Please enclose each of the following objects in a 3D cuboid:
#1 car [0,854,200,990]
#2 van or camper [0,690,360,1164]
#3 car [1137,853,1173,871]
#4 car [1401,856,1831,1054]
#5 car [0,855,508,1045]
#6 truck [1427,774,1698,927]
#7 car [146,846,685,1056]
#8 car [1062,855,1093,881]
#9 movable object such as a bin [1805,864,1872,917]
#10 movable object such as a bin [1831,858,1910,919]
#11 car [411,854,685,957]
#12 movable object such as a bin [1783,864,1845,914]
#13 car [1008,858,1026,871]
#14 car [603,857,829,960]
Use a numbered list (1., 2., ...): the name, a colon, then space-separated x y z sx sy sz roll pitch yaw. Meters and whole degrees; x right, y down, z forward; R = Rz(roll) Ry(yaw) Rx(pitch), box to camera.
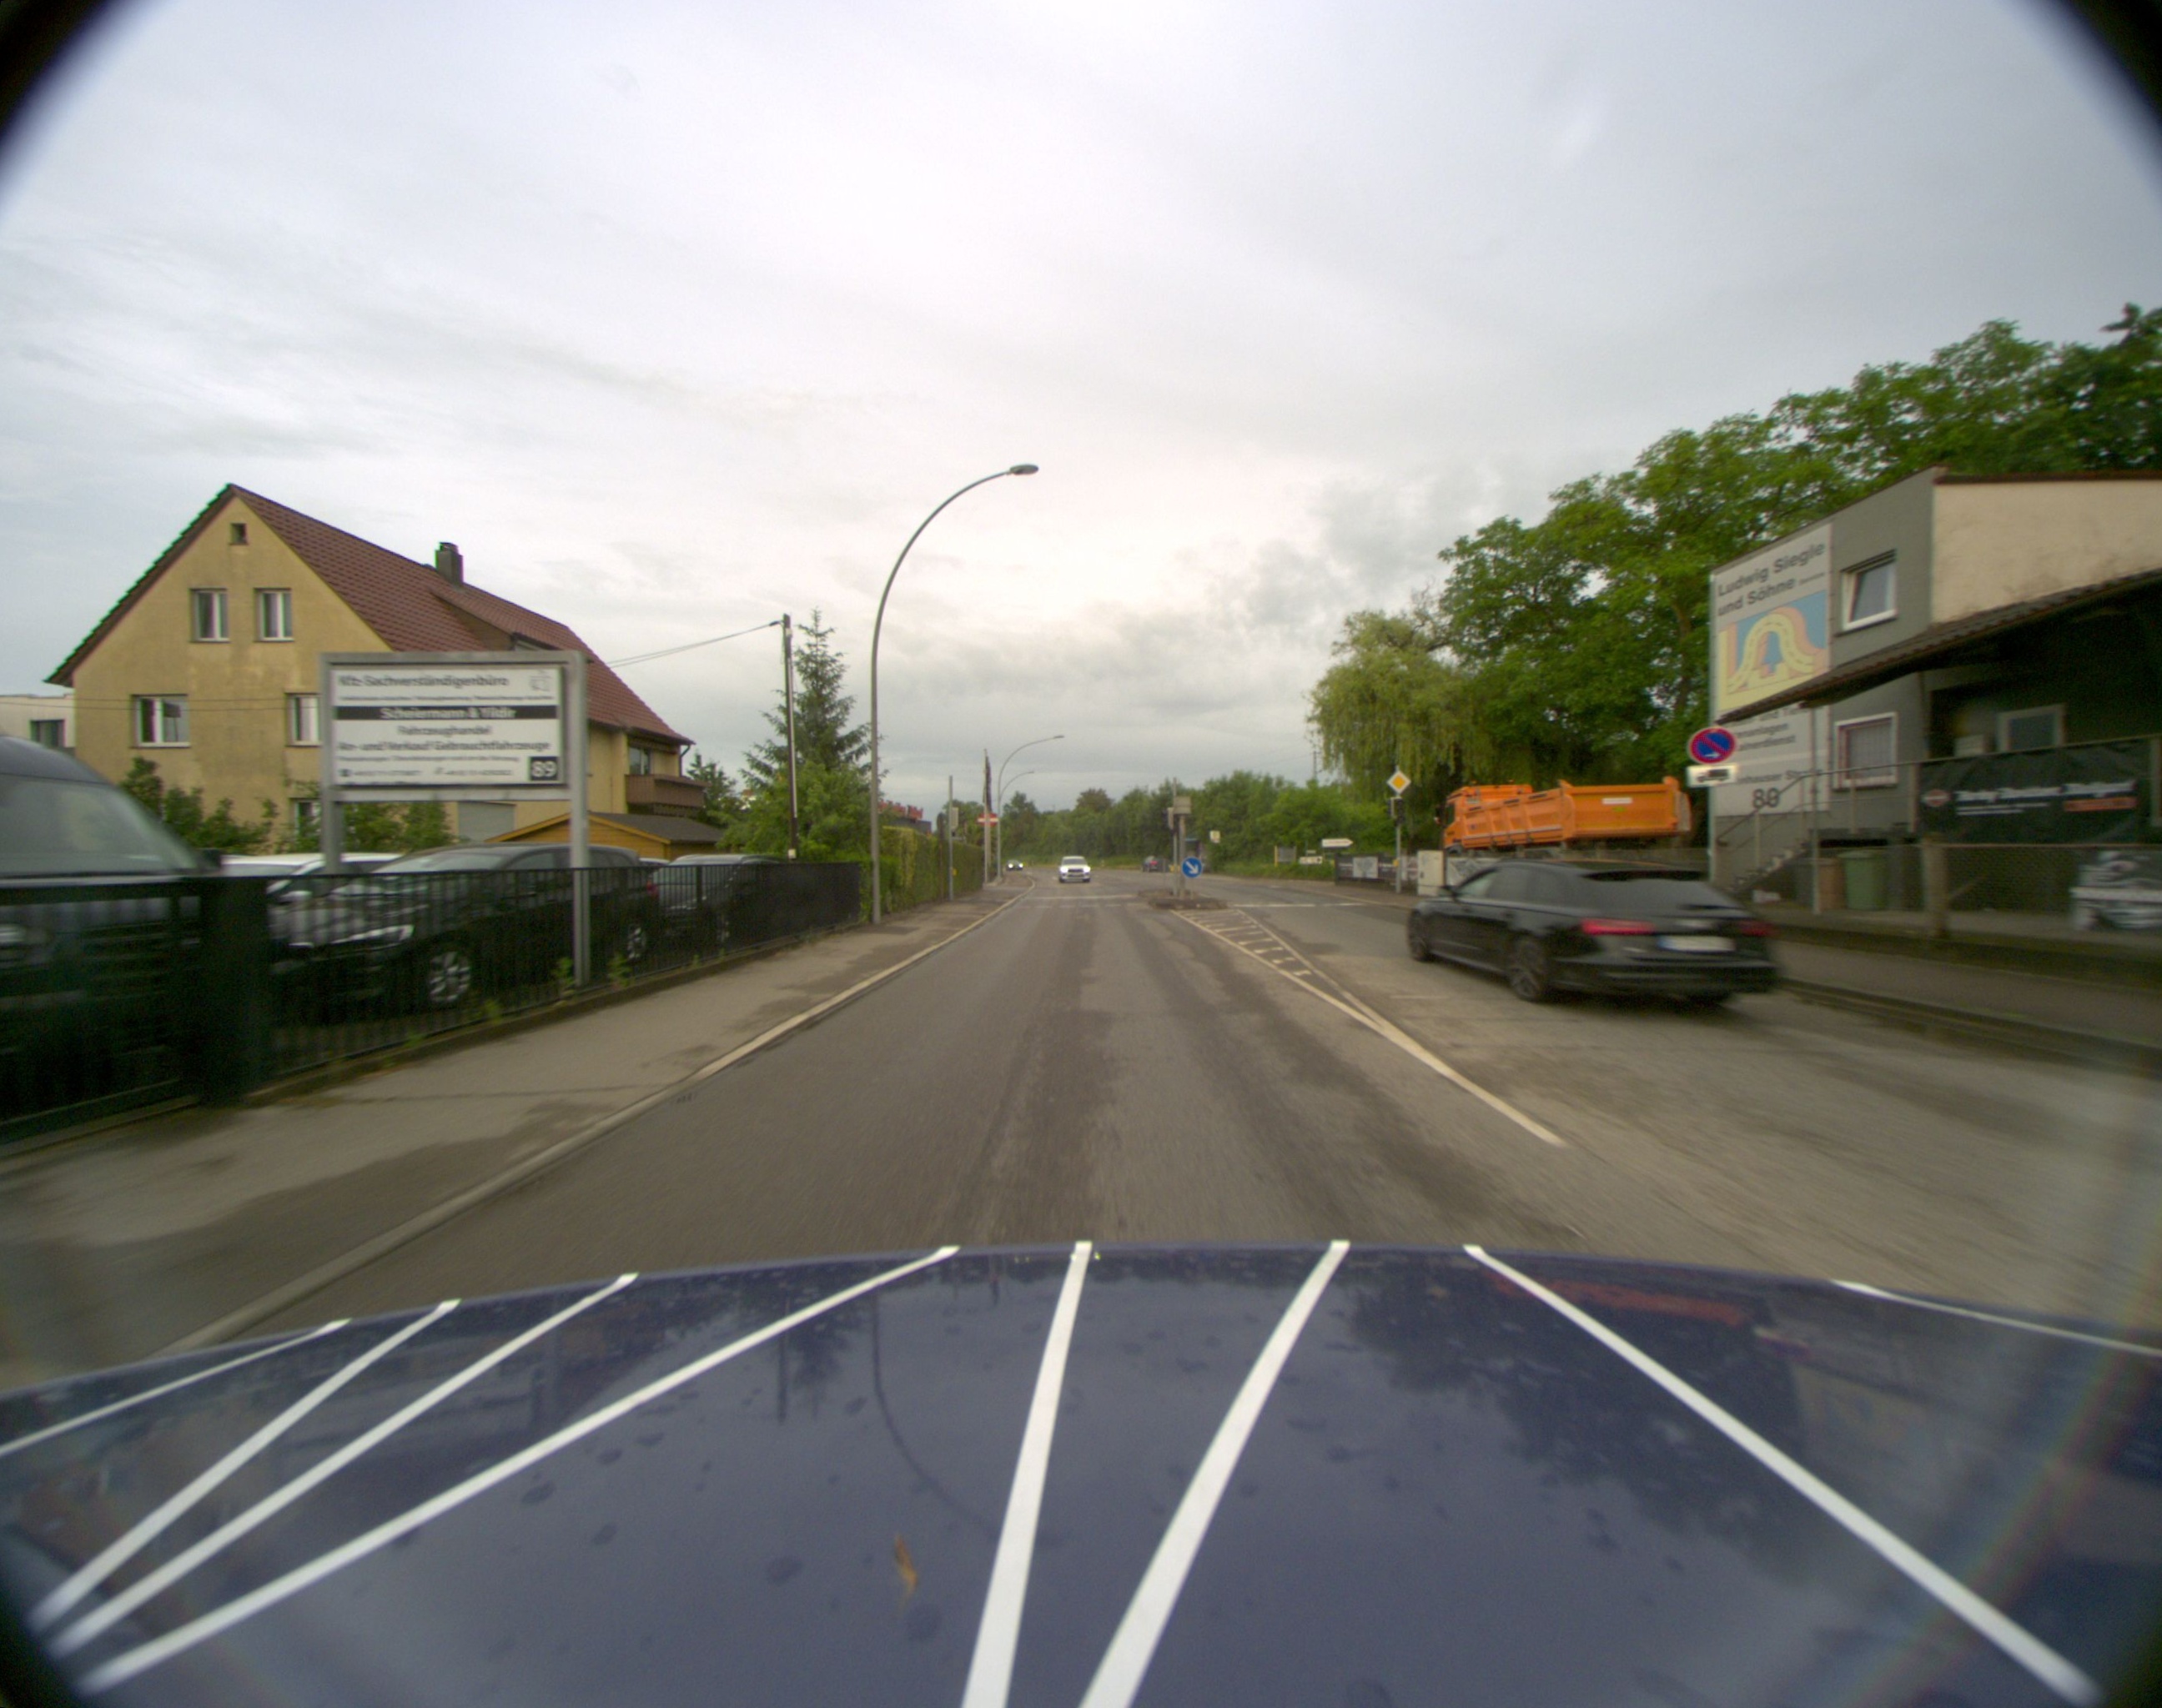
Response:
1. car: -14.035 0.907 9.278 1.633 1.590 3.966 -3 2 5
2. van or camper: -8.575 0.435 4.830 5.918 2.472 2.131 -2 2 2
3. car: 6.838 0.805 70.865 2.000 1.465 4.698 -3 -2 -10
4. car: 5.324 0.842 8.502 1.746 1.443 4.542 -1 2 3
5. car: -9.319 0.902 9.029 1.665 1.558 4.000 -3 2 5
6. truck: 13.068 -0.240 21.910 2.703 3.393 9.071 -3 2 5
7. car: -6.676 0.788 8.529 1.665 1.558 4.566 -3 2 5
8. car: -0.264 0.866 48.987 1.848 1.565 3.826 0 0 -2
9. movable object such as a bin: 14.115 0.681 14.165 0.765 0.950 0.478 -1 1 1
10. movable object such as a bin: 14.108 0.602 13.591 0.765 1.050 0.624 -1 1 1
11. car: -9.071 0.785 13.407 1.740 1.346 3.905 -3 2 6
12. movable object such as a bin: 14.147 0.669 14.668 0.750 0.950 0.460 -1 1 1
13. car: -8.588 1.380 101.902 1.839 1.609 3.996 -1 0 -12
14. car: -6.184 0.830 13.515 1.665 1.448 4.245 -3 0 4
